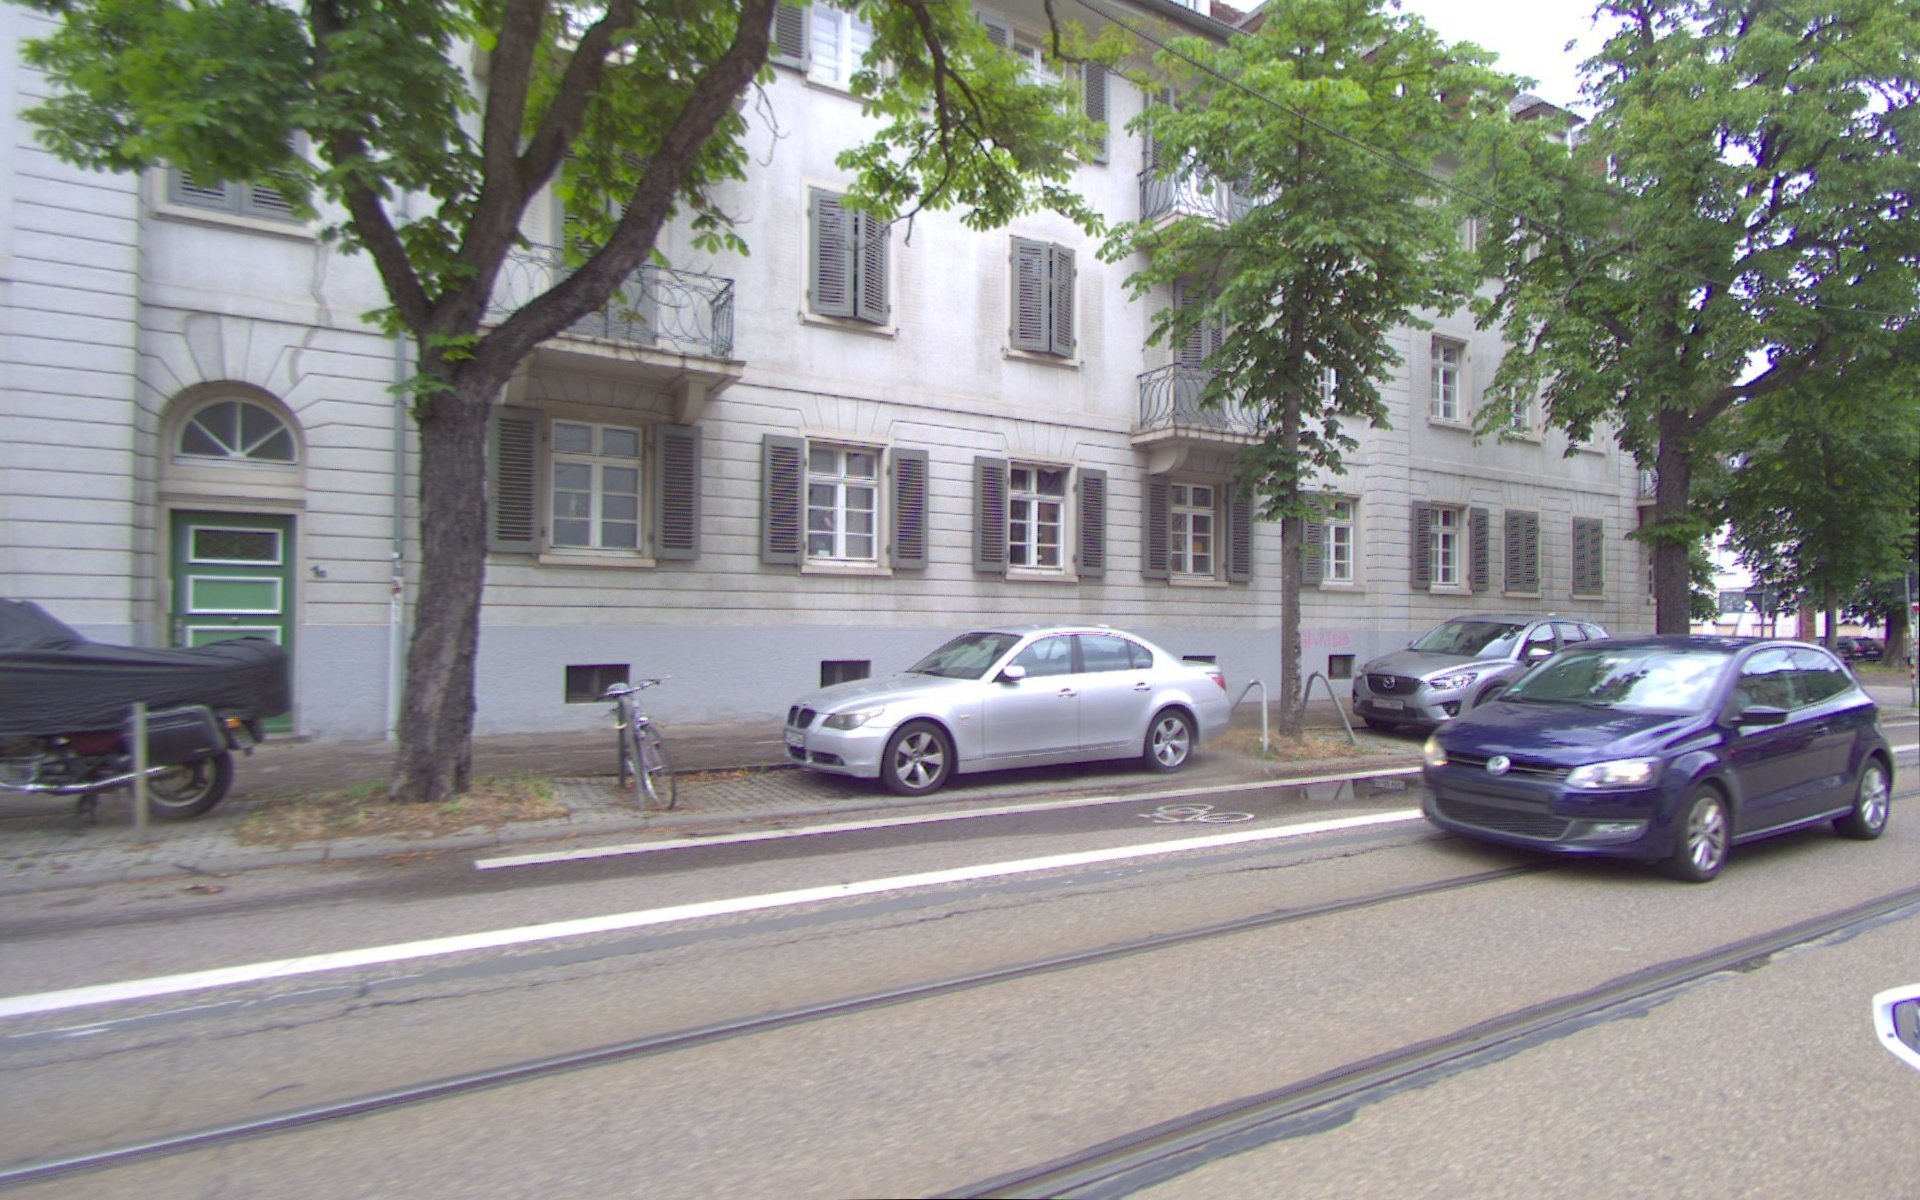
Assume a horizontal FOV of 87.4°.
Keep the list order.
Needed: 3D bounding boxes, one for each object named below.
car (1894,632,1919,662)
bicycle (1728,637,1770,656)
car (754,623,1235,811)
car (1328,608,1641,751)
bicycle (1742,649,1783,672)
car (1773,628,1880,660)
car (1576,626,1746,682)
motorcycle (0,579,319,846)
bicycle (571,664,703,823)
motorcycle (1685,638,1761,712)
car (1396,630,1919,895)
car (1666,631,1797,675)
[{"bbox_3d":[43.376,2.082,43.741,1.708,1.324,3.758,1,-2,-6],"label":"car"},{"bbox_3d":[45.441,2.685,57.887,0.641,1.049,2.191,1,-1,-2],"label":"bicycle"},{"bbox_3d":[0.434,0.989,10.011,4.560,1.485,1.803,1,-1,-31],"label":"car"},{"bbox_3d":[7.371,1.005,14.046,4.240,1.683,1.829,1,1,-29],"label":"car"},{"bbox_3d":[35.749,2.688,44.773,0.440,0.937,1.674,0,-1,-1],"label":"bicycle"},{"bbox_3d":[42.890,2.142,49.831,1.675,1.483,3.941,0,-1,-6],"label":"car"},{"bbox_3d":[22.637,1.698,32.671,1.904,1.685,4.508,1,-1,-11],"label":"car"},{"bbox_3d":[-5.861,0.718,6.775,2.444,1.665,0.831,1,-1,-22],"label":"motorcycle"},{"bbox_3d":[-2.719,1.114,8.323,0.558,1.041,1.883,1,0,-33],"label":"bicycle"},{"bbox_3d":[13.981,1.342,18.390,2.122,1.274,0.536,1,-1,-37],"label":"motorcycle"},{"bbox_3d":[5.003,0.933,7.123,3.612,1.427,1.721,1,-2,-30],"label":"car"},{"bbox_3d":[27.983,1.880,36.615,1.629,1.429,4.070,1,-1,0],"label":"car"}]
